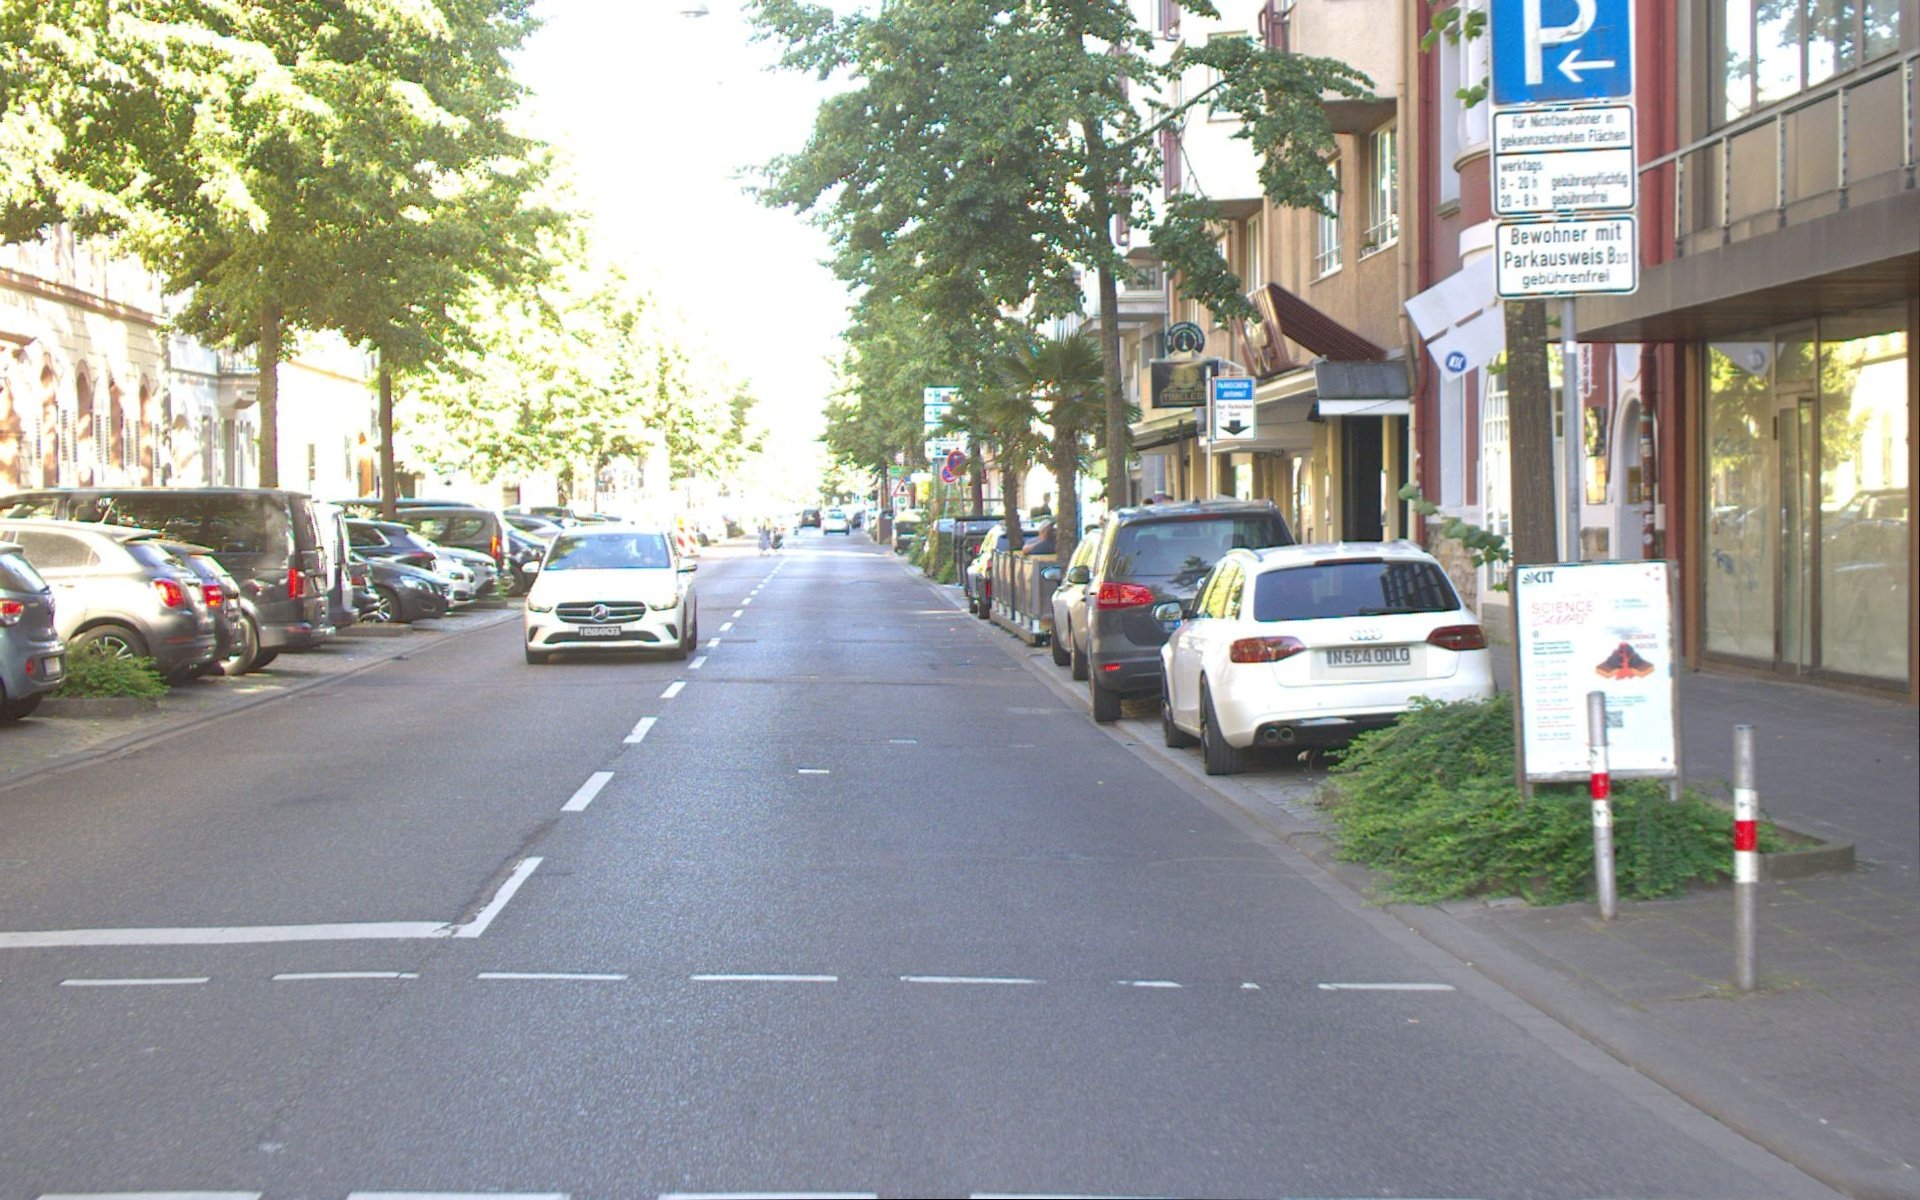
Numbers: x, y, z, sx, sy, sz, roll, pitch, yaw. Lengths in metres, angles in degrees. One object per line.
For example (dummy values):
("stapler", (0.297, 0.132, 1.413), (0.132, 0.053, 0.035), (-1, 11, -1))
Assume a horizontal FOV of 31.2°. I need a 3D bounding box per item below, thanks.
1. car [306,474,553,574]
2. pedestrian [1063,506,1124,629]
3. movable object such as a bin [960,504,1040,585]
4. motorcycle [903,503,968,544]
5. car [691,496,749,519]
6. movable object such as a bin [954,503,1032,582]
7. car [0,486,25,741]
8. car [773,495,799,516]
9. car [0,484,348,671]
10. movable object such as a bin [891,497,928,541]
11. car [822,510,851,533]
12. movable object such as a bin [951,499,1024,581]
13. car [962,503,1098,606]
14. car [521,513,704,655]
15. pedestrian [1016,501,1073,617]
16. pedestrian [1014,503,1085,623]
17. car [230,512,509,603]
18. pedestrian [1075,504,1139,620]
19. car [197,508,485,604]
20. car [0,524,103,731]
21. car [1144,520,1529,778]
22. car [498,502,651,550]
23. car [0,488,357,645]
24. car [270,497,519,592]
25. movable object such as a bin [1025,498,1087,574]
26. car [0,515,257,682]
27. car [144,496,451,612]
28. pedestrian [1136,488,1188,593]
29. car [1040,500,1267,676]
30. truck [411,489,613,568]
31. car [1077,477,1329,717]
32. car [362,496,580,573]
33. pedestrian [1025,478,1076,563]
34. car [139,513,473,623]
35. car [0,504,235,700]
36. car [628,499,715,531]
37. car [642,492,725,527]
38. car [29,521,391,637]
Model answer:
("car", (-10.642, -1.534, 69.167), (4.680, 1.943, 1.917), (0, 1, 0))
("pedestrian", (1.700, -0.423, 43.873), (0.692, 1.531, 0.776), (-1, 1, -1))
("movable object such as a bin", (0.732, -1.030, 63.554), (1.399, 1.449, 1.146), (-1, 2, -2))
("motorcycle", (-0.808, -2.536, 113.732), (1.977, 1.325, 0.912), (-2, 2, -14))
("car", (-16.913, -6.533, 242.277), (3.986, 1.494, 2.000), (-1, 2, -3))
("movable object such as a bin", (0.617, -1.092, 64.734), (1.399, 1.449, 1.146), (-1, 2, -2))
("car", (-9.017, 0.113, 24.173), (4.339, 1.818, 1.930), (0, 1, 0))
("car", (-12.341, -6.706, 243.721), (1.802, 1.430, 4.410), (-3, 2, -3))
("car", (-8.952, -0.253, 36.424), (4.573, 1.920, 1.930), (0, 1, 1))
("movable object such as a bin", (-1.823, -2.919, 124.037), (1.143, 1.556, 1.459), (-1, 2, 6))
("car", (-7.932, -5.031, 220.849), (1.792, 1.406, 4.001), (-1, 2, -2))
("movable object such as a bin", (0.524, -1.160, 65.894), (1.330, 1.537, 1.146), (-1, 2, -2))
("car", (1.069, -0.770, 55.023), (1.822, 1.467, 4.912), (-3, 2, -2))
("car", (-3.989, -0.232, 40.016), (1.910, 1.539, 4.354), (0, 2, -3))
("pedestrian", (1.131, -0.555, 46.271), (0.650, 1.531, 0.980), (-1, 1, -4))
("pedestrian", (1.176, -0.487, 44.974), (0.749, 1.531, 0.807), (-1, 2, 13))
("car", (-10.191, -0.748, 59.543), (4.466, 1.535, 1.917), (0, 1, 2))
("pedestrian", (1.980, -0.516, 46.271), (0.712, 1.531, 0.769), (-1, 2, 13))
("car", (-10.179, -0.749, 56.785), (4.465, 1.535, 1.917), (0, 1, -3))
("car", (-9.103, 0.191, 26.772), (4.339, 1.539, 1.916), (0, 1, 2))
("car", (2.368, 0.233, 22.839), (1.822, 1.397, 4.842), (-3, 2, -1))
("car", (-11.989, -2.303, 107.024), (4.679, 1.460, 1.808), (0, 1, -5))
("car", (-9.542, -0.427, 41.629), (4.338, 1.827, 1.917), (-1, 1, -12))
("car", (-10.852, -1.080, 66.188), (4.466, 1.766, 1.917), (0, 1, 0))
("movable object such as a bin", (1.830, -1.234, 65.936), (1.077, 1.426, 1.295), (-1, 2, -2))
("car", (-9.265, -0.030, 33.891), (4.339, 1.590, 1.917), (0, 1, -4))
("car", (-10.033, -0.711, 52.321), (4.339, 1.703, 1.917), (0, 1, -2))
("pedestrian", (3.268, -0.961, 55.622), (0.502, 1.690, 0.630), (-2, 2, -39))
("car", (1.928, -0.189, 35.621), (1.822, 1.591, 4.842), (-3, 2, -2))
("truck", (-11.828, -1.903, 91.012), (5.084, 1.931, 2.000), (-1, 2, -2))
("car", (1.976, -0.102, 29.254), (1.822, 1.771, 4.931), (-3, 2, 2))
("car", (-11.058, -1.483, 77.897), (4.680, 1.706, 1.808), (0, 1, 0))
("pedestrian", (2.069, -1.834, 78.830), (0.926, 1.929, 0.760), (0, 2, 23))
("car", (-9.433, -0.478, 49.856), (4.466, 1.535, 1.917), (0, 1, 0))
("car", (-8.968, 0.002, 31.426), (4.339, 1.727, 1.917), (0, 1, -4))
("car", (-13.567, -3.991, 161.722), (3.986, 1.385, 2.000), (-1, 2, -3))
("car", (-14.028, -4.617, 174.616), (3.987, 1.688, 2.000), (-1, 2, 3))
("car", (-9.649, -0.286, 44.500), (4.339, 1.434, 1.917), (0, 1, -4))
